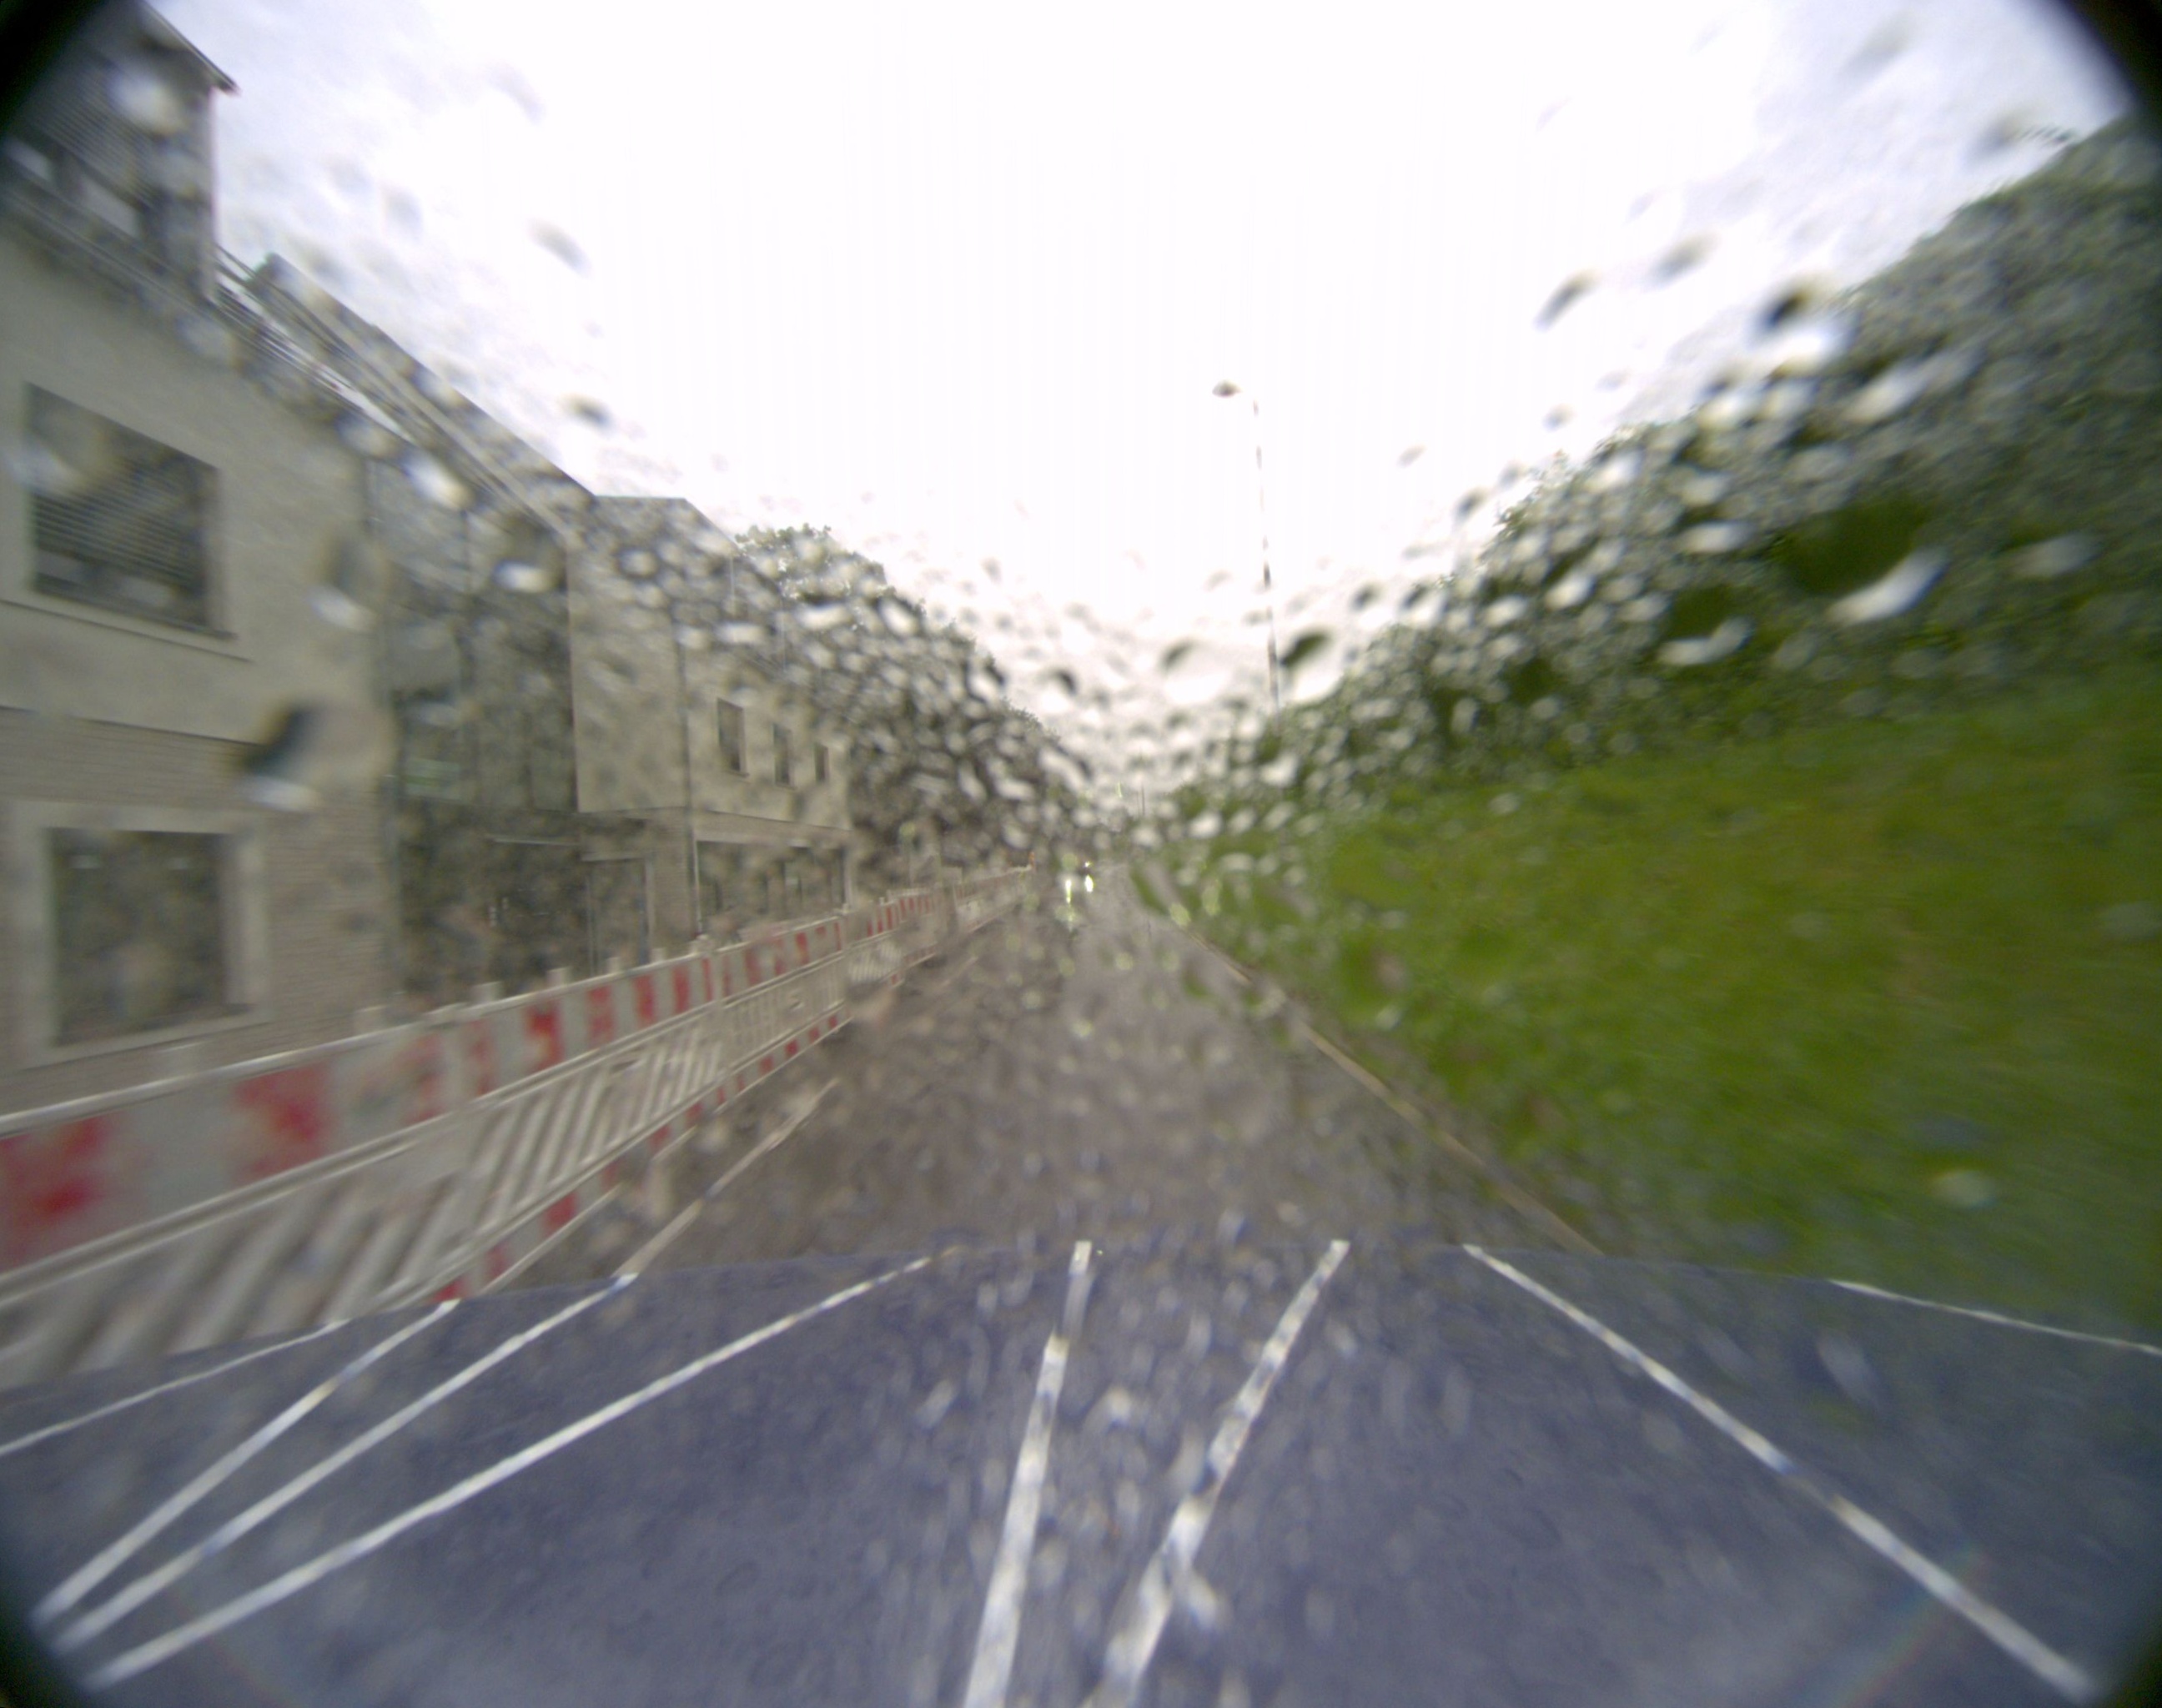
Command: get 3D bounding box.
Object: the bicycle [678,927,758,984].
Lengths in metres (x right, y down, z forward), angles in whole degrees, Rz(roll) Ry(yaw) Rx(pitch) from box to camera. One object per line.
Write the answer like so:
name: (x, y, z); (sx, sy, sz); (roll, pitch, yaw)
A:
bicycle: (-6.034, 1.666, 12.720); (0.497, 0.693, 1.739); (2, 0, 0)

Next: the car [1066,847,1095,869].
car: (-0.017, 0.295, 55.718); (1.798, 1.543, 4.001); (0, 1, 5)
